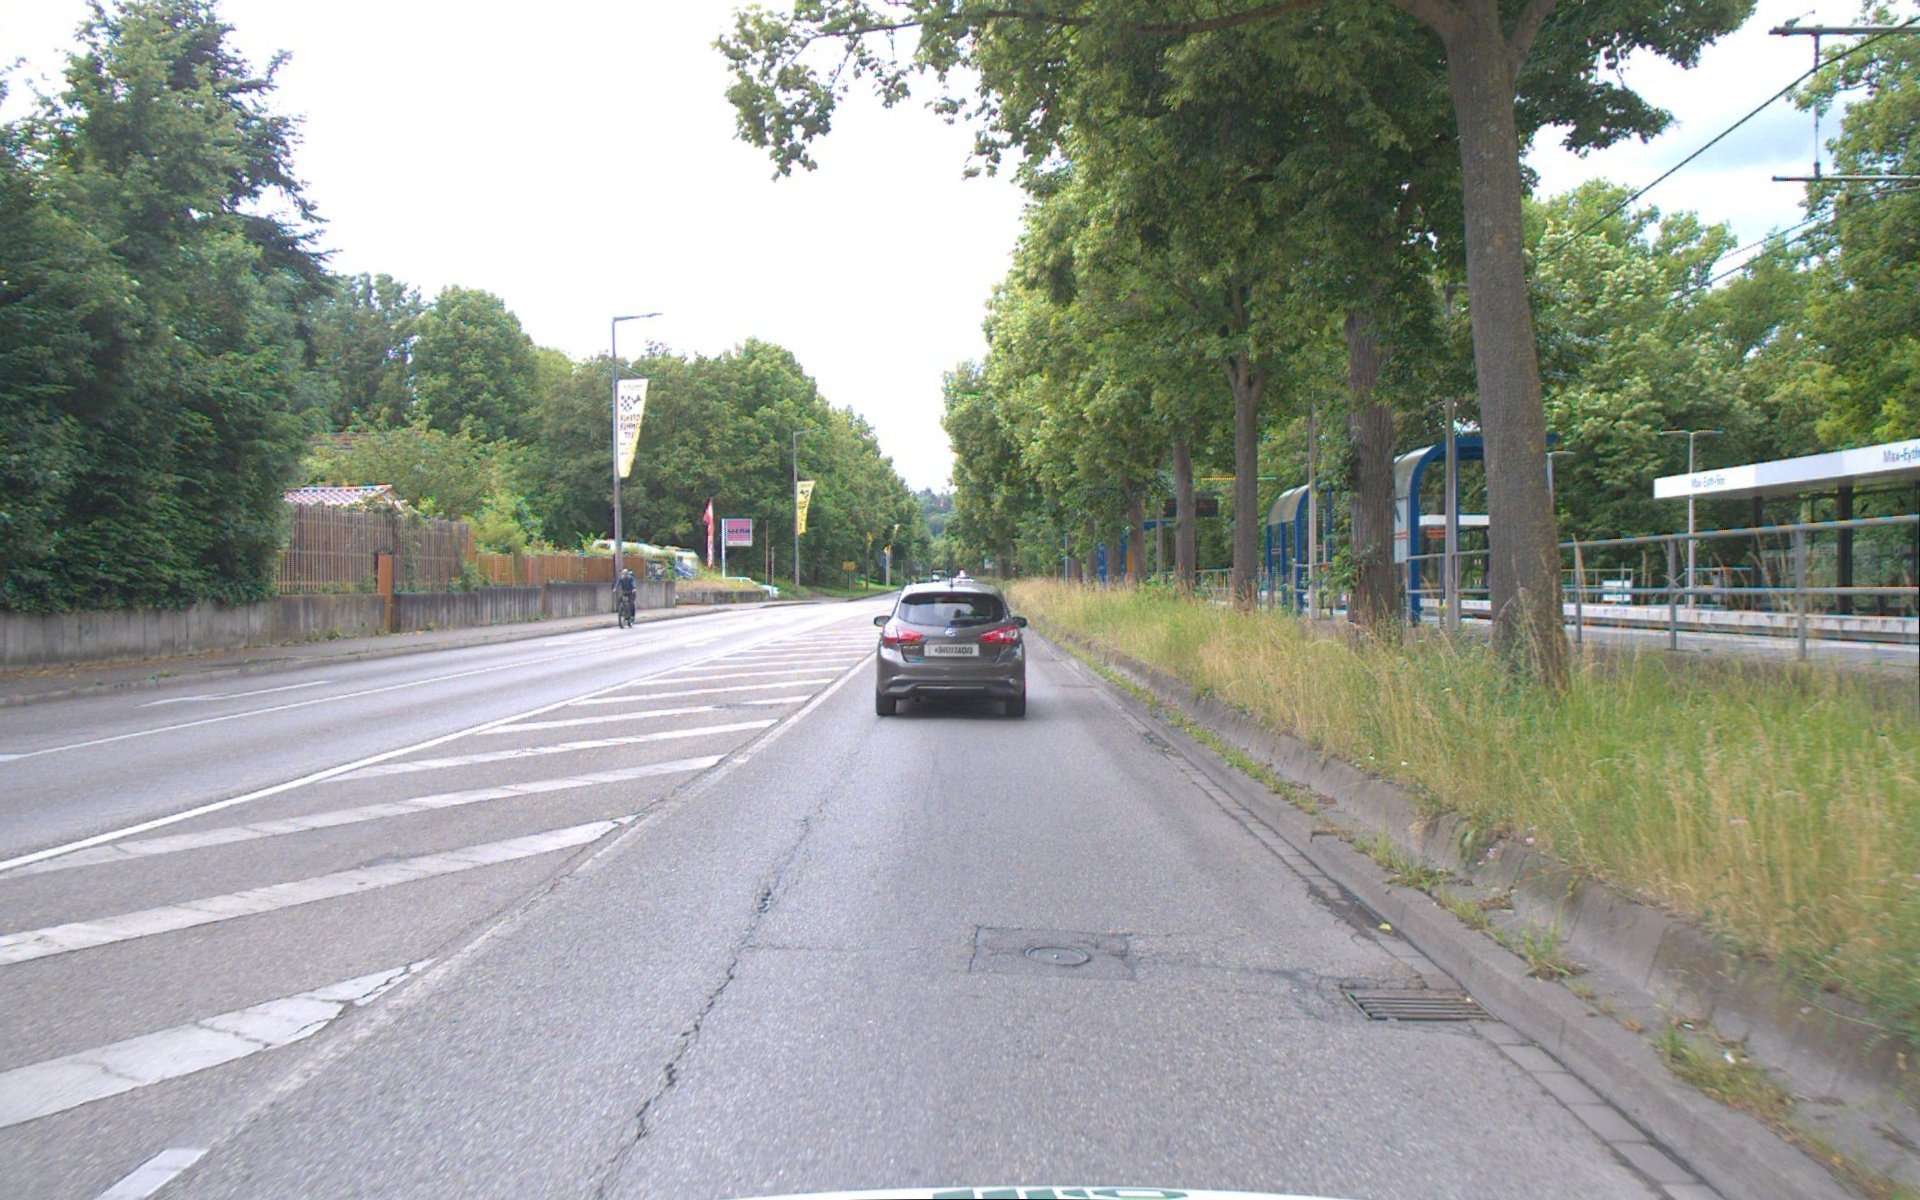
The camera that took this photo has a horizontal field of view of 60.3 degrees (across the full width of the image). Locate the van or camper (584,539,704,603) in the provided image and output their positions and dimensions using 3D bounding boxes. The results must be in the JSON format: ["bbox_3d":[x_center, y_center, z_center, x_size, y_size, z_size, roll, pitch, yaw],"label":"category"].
[{"bbox_3d":[-20.466,-1.884,107.489,6.997,3.428,2.796,5,0,0],"label":"van or camper"}]

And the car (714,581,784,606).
[{"bbox_3d":[-13.722,-0.437,107.695,4.287,1.466,1.960,2,0,-2],"label":"car"}]

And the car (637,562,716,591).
[{"bbox_3d":[-15.291,-1.249,89.376,3.903,1.435,1.534,2,0,5],"label":"car"}]

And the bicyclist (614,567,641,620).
[{"bbox_3d":[-10.038,-0.189,49.950,0.629,1.562,0.978,2,0,-4],"label":"bicyclist"}]

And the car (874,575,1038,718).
[{"bbox_3d":[0.025,0.512,20.302,1.799,1.555,3.930,1,0,2],"label":"car"}]

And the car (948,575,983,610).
[{"bbox_3d":[0.278,-0.347,75.712,1.472,1.555,3.672,1,0,2],"label":"car"}]

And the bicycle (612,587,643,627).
[{"bbox_3d":[-10.076,0.204,50.152,0.629,1.165,2.146,2,0,-4],"label":"bicycle"}]

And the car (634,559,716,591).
[{"bbox_3d":[-15.073,-1.303,87.506,3.903,1.523,1.860,2,0,5],"label":"car"}]
